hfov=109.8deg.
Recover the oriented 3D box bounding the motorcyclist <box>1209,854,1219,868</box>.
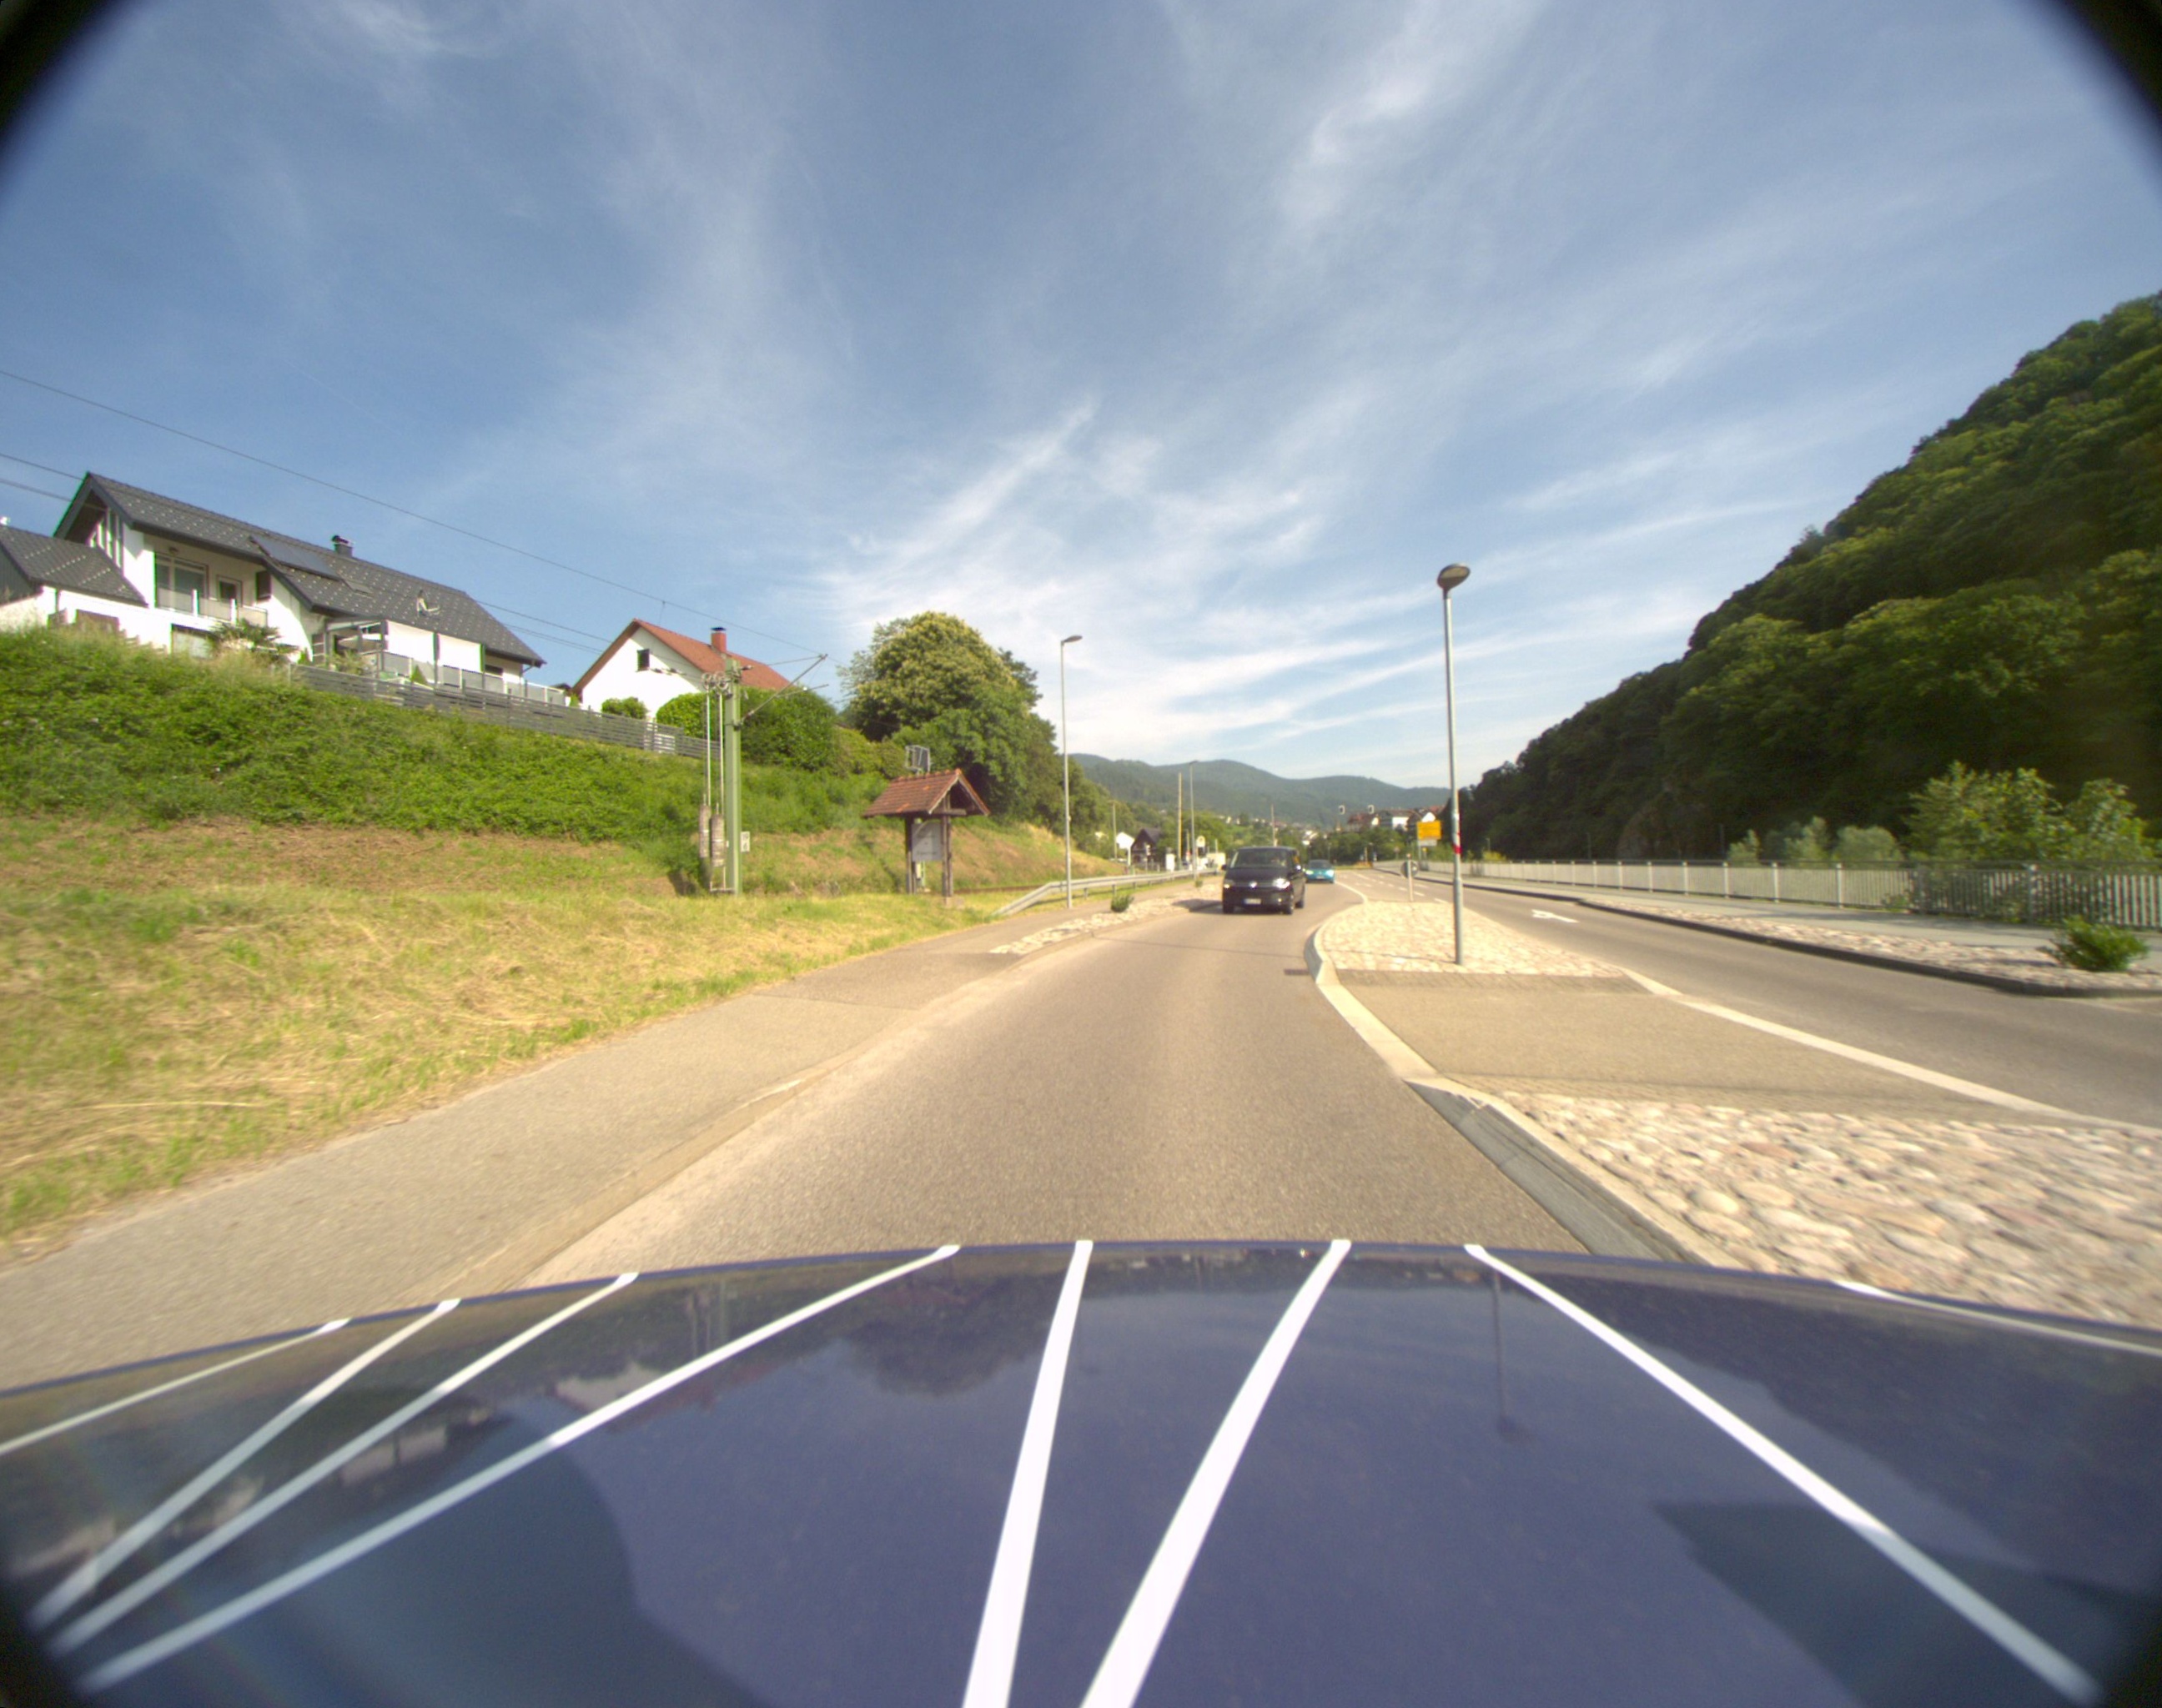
[{"bbox_3d":[15.968,0.869,91.112,0.907,1.587,0.767,-2,-1,35],"label":"motorcyclist"}]

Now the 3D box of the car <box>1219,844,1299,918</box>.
[{"bbox_3d":[5.350,0.714,22.423,1.862,1.936,4.644,0,0,18],"label":"car"}]

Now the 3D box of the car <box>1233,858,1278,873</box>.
[{"bbox_3d":[20.093,1.353,87.687,1.935,1.649,4.728,5,-4,-41],"label":"car"}]

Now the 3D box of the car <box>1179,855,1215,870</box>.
[{"bbox_3d":[14.758,1.093,96.689,4.115,1.676,1.838,-3,-1,31],"label":"car"}]

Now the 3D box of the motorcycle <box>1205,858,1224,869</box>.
[{"bbox_3d":[16.003,1.185,91.065,2.094,1.247,0.801,-3,-1,36],"label":"motorcycle"}]

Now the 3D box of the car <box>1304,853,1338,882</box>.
[{"bbox_3d":[16.090,0.862,50.777,1.880,1.728,4.521,-1,1,21],"label":"car"}]
